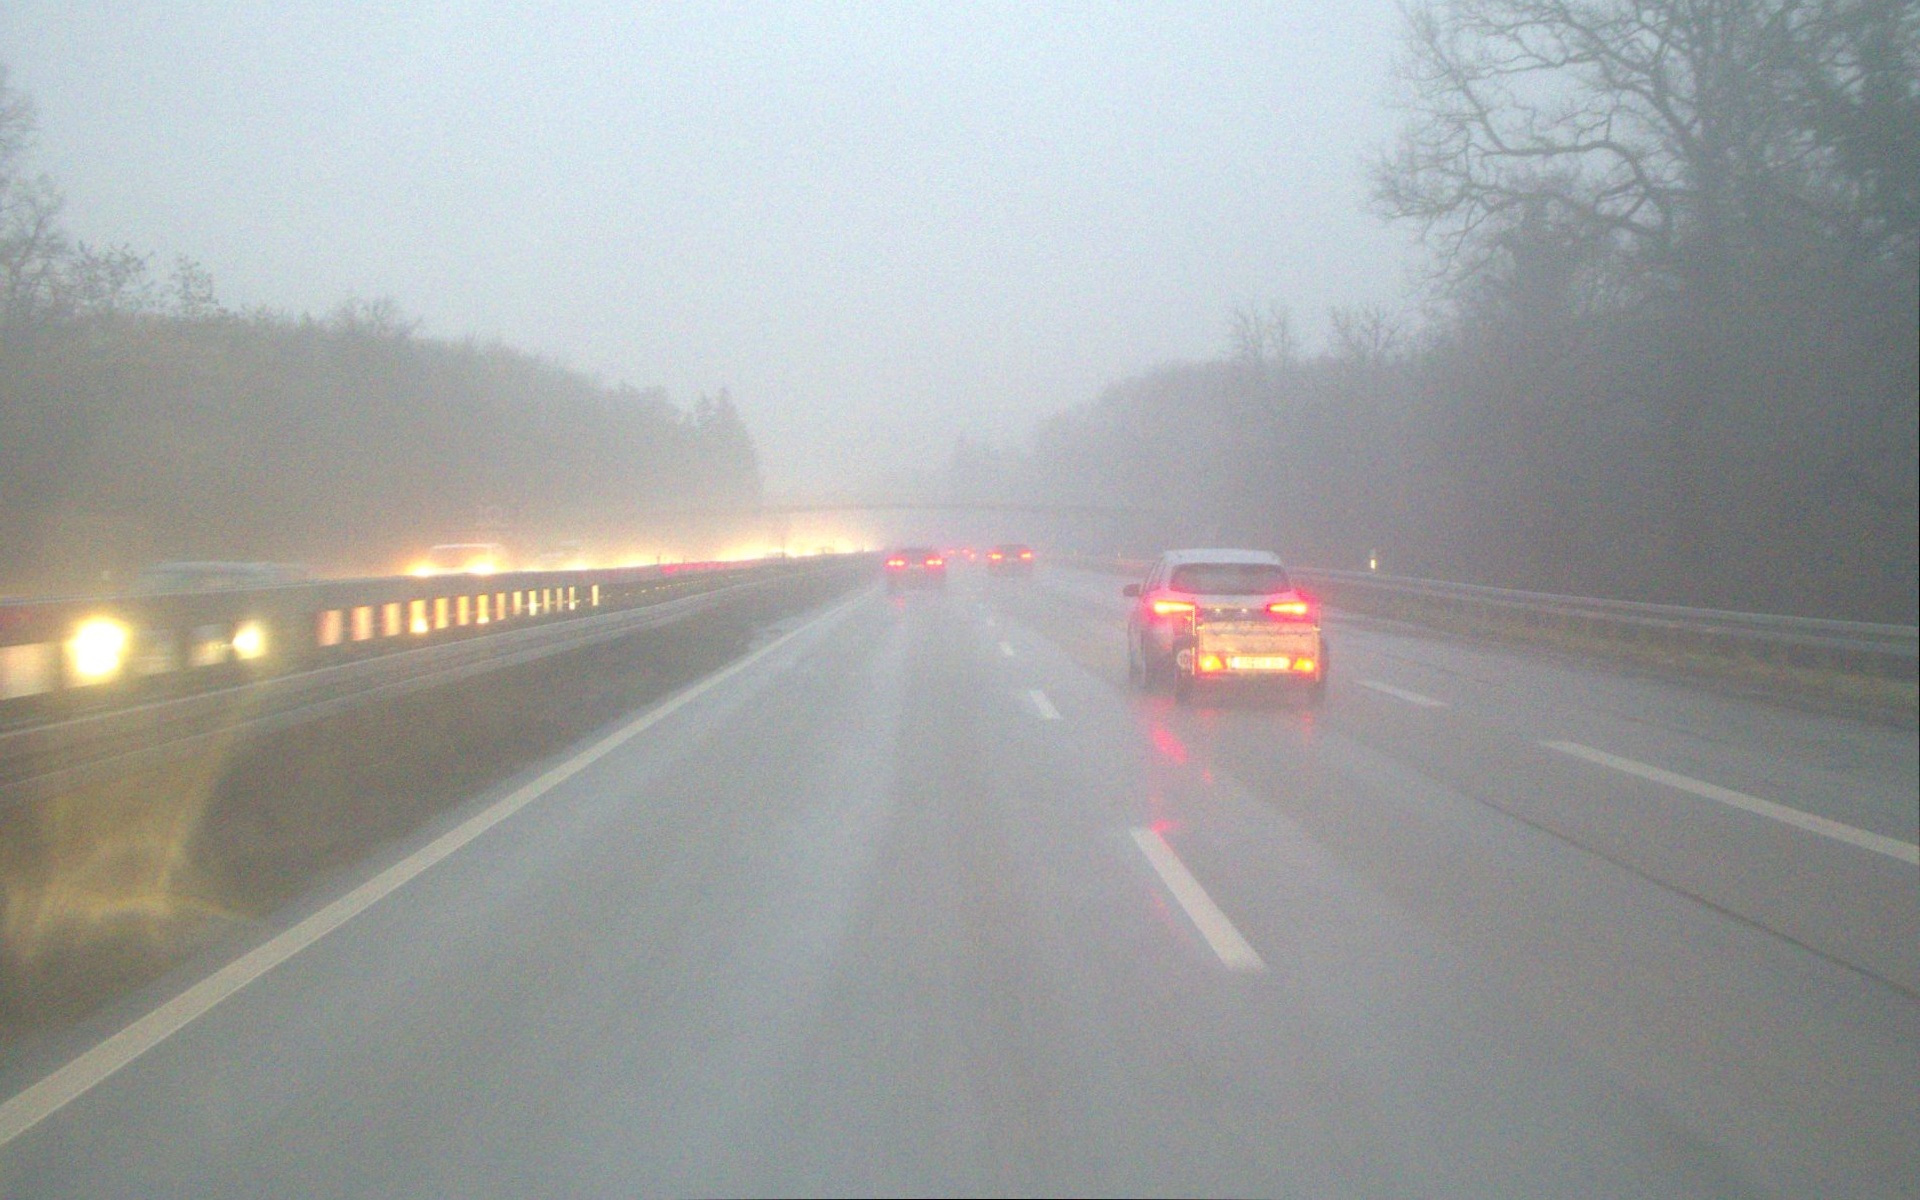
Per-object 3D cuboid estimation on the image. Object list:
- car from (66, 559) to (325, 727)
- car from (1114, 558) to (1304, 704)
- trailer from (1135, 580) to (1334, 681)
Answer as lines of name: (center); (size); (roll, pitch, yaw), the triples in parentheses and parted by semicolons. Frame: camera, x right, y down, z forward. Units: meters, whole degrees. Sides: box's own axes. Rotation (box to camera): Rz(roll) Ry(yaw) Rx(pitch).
car: (-8.012, 0.404, 36.391); (1.698, 1.501, 4.410); (-5, 1, -1)
car: (2.743, 0.306, 38.588); (1.786, 1.511, 3.811); (-1, 1, -1)
trailer: (2.770, 0.290, 35.208); (1.748, 0.922, 2.951); (-1, 1, -1)
